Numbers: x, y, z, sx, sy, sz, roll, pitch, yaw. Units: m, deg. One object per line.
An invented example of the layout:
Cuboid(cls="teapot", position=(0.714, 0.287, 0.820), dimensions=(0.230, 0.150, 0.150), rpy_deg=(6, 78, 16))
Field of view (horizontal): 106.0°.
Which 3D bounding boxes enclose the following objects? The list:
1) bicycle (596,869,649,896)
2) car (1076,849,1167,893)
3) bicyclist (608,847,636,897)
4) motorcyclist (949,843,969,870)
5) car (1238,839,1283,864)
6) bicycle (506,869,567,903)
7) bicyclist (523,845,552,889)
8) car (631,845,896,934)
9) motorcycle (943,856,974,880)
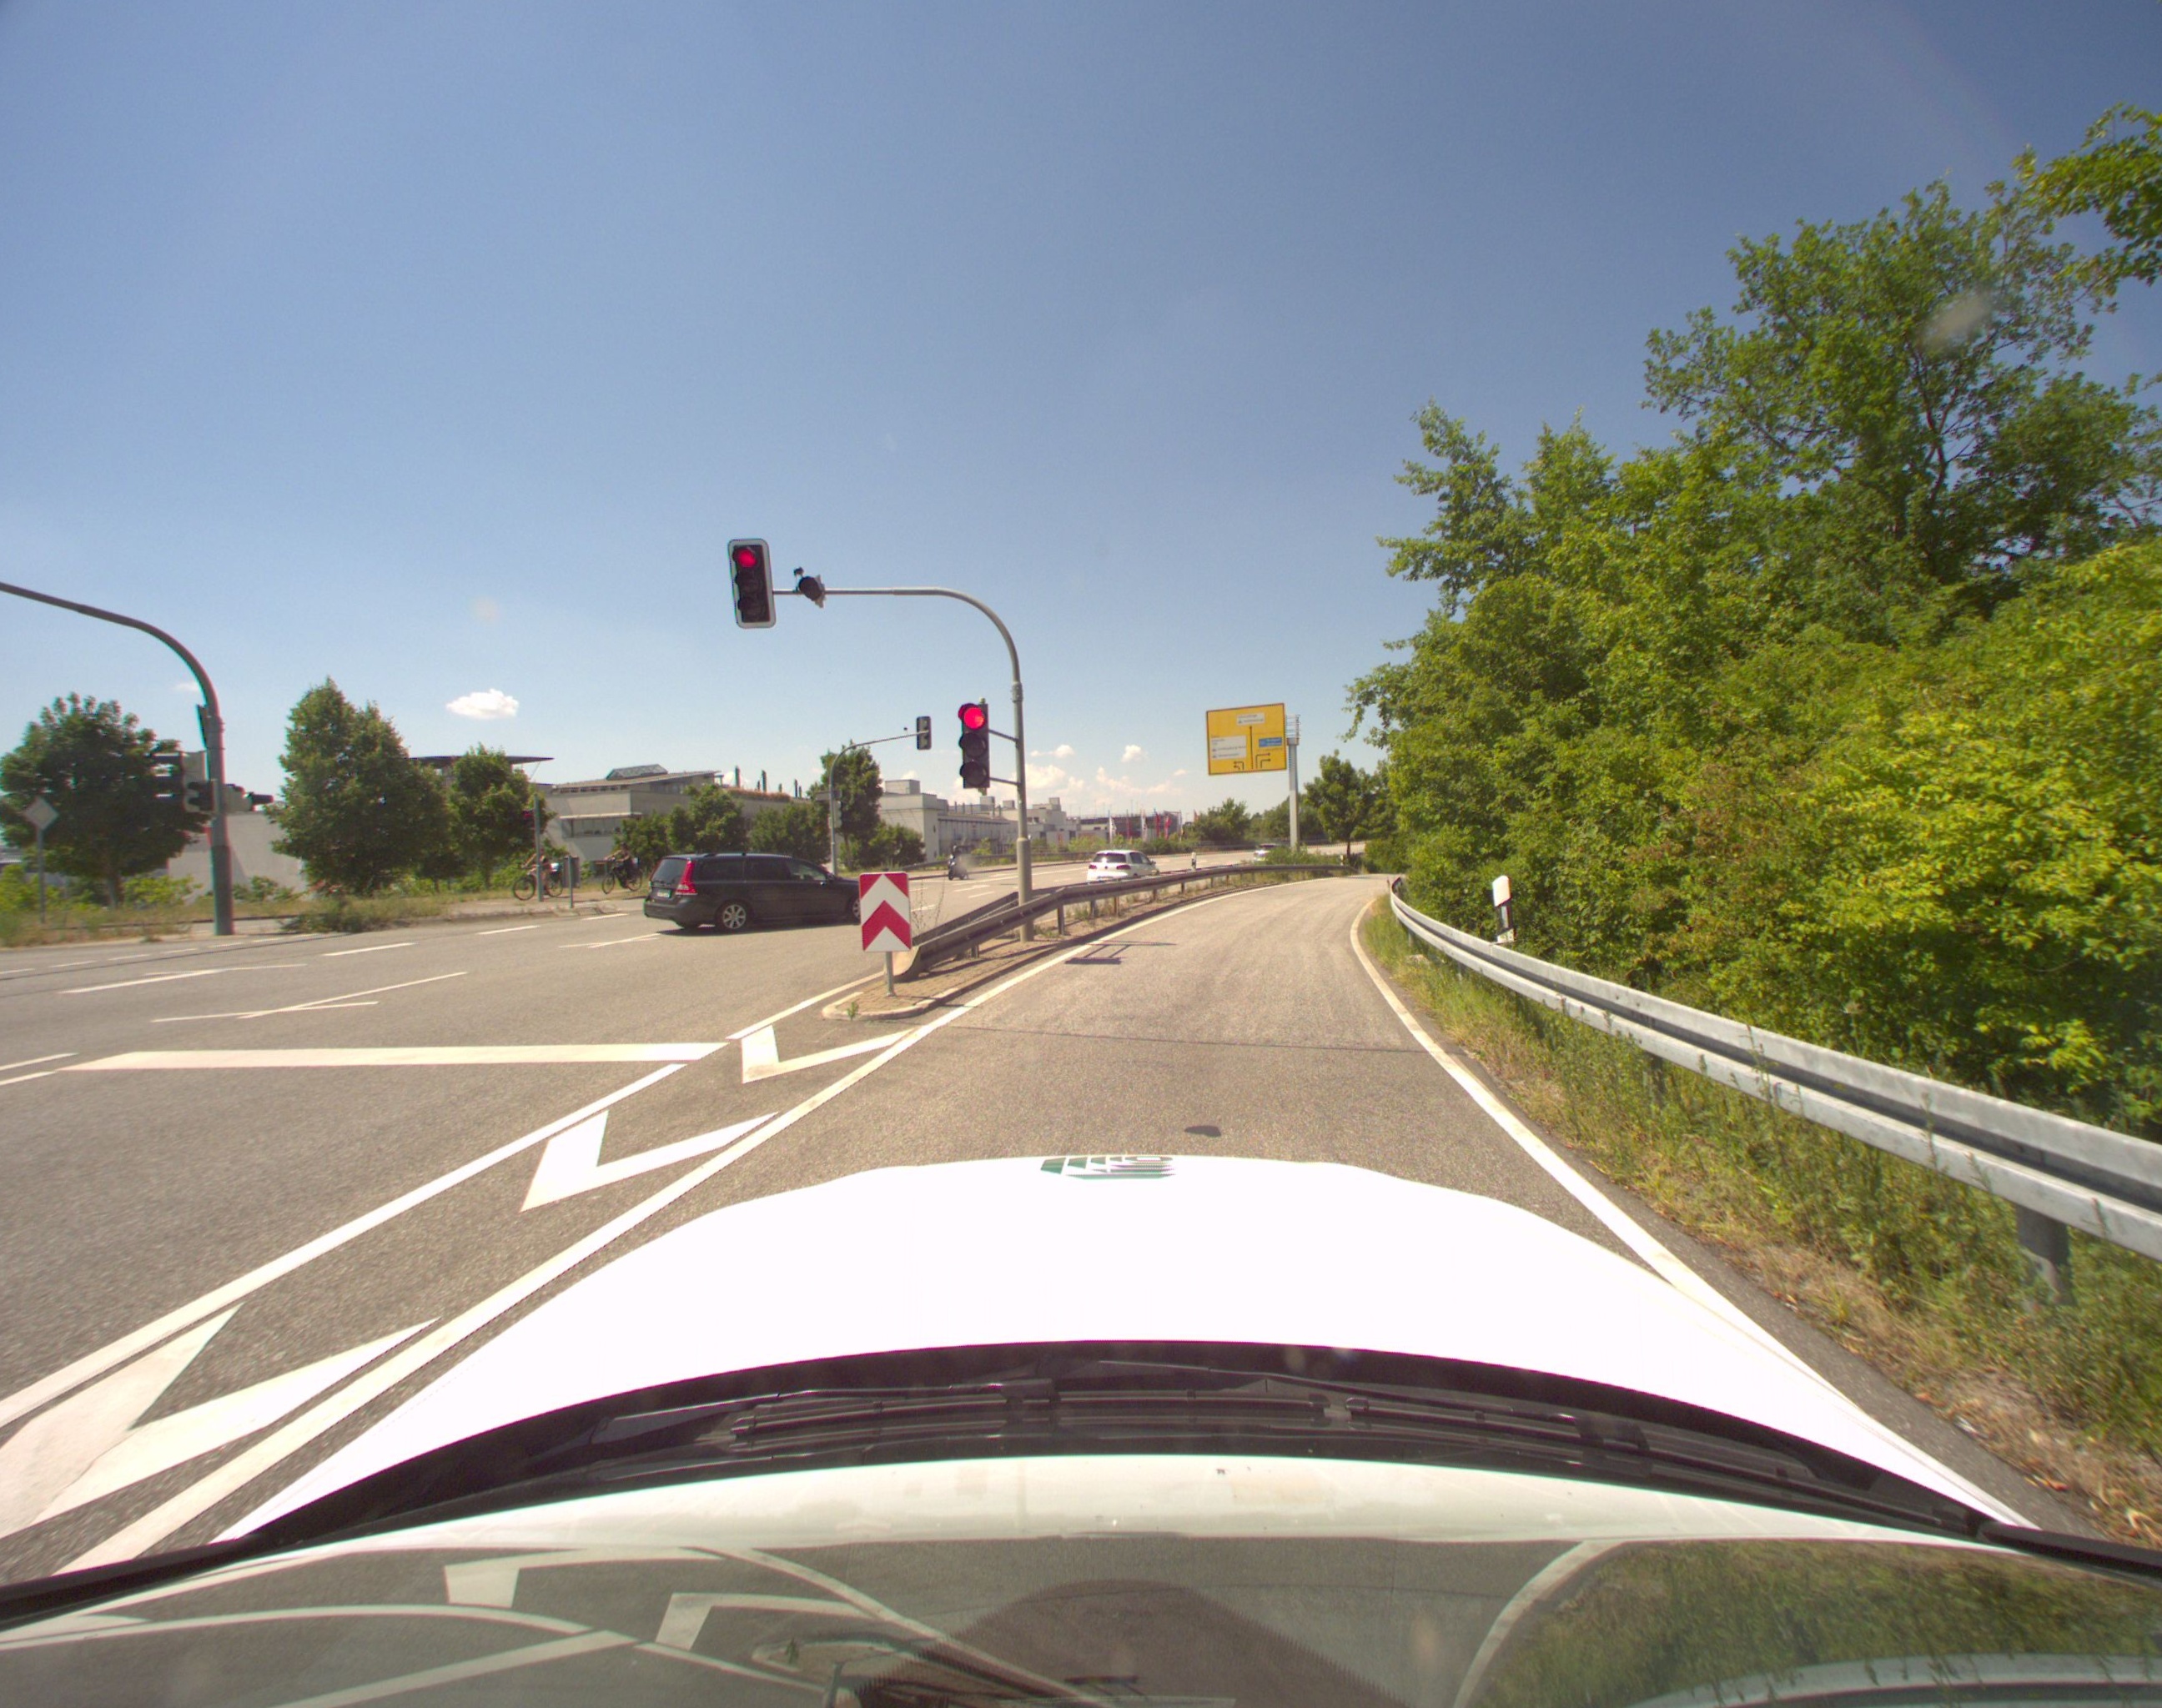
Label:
Cuboid(cls="bicycle", position=(-16.005, 0.966, 28.461), dimensions=(0.531, 0.852, 2.129), rpy_deg=(0, 0, 4))
Cuboid(cls="car", position=(1.588, 0.585, 30.330), dimensions=(1.975, 1.486, 4.159), rpy_deg=(-1, 0, 25))
Cuboid(cls="bicyclist", position=(-16.012, 0.611, 28.438), dimensions=(0.527, 1.717, 0.731), rpy_deg=(0, 0, 3))
Cuboid(cls="motorcyclist", position=(-5.905, 0.114, 39.488), dimensions=(0.669, 1.303, 0.726), rpy_deg=(-3, -1, 15))
Cuboid(cls="car", position=(11.841, -0.186, 53.467), dimensions=(1.976, 1.505, 4.421), rpy_deg=(-3, 0, 23))
Cuboid(cls="bicycle", position=(-17.619, 1.008, 26.394), dimensions=(0.411, 1.025, 1.839), rpy_deg=(0, 0, 13))
Cuboid(cls="bicyclist", position=(-17.615, 0.413, 26.406), dimensions=(0.404, 1.404, 0.687), rpy_deg=(0, 0, 13))
Cuboid(cls="car", position=(-6.183, 0.610, 16.447), dimensions=(1.714, 1.545, 4.764), rpy_deg=(-2, 0, 38))
Cuboid(cls="motorcycle", position=(-5.898, 0.678, 39.411), dimensions=(0.558, 1.080, 2.294), rpy_deg=(-2, 0, 15))
